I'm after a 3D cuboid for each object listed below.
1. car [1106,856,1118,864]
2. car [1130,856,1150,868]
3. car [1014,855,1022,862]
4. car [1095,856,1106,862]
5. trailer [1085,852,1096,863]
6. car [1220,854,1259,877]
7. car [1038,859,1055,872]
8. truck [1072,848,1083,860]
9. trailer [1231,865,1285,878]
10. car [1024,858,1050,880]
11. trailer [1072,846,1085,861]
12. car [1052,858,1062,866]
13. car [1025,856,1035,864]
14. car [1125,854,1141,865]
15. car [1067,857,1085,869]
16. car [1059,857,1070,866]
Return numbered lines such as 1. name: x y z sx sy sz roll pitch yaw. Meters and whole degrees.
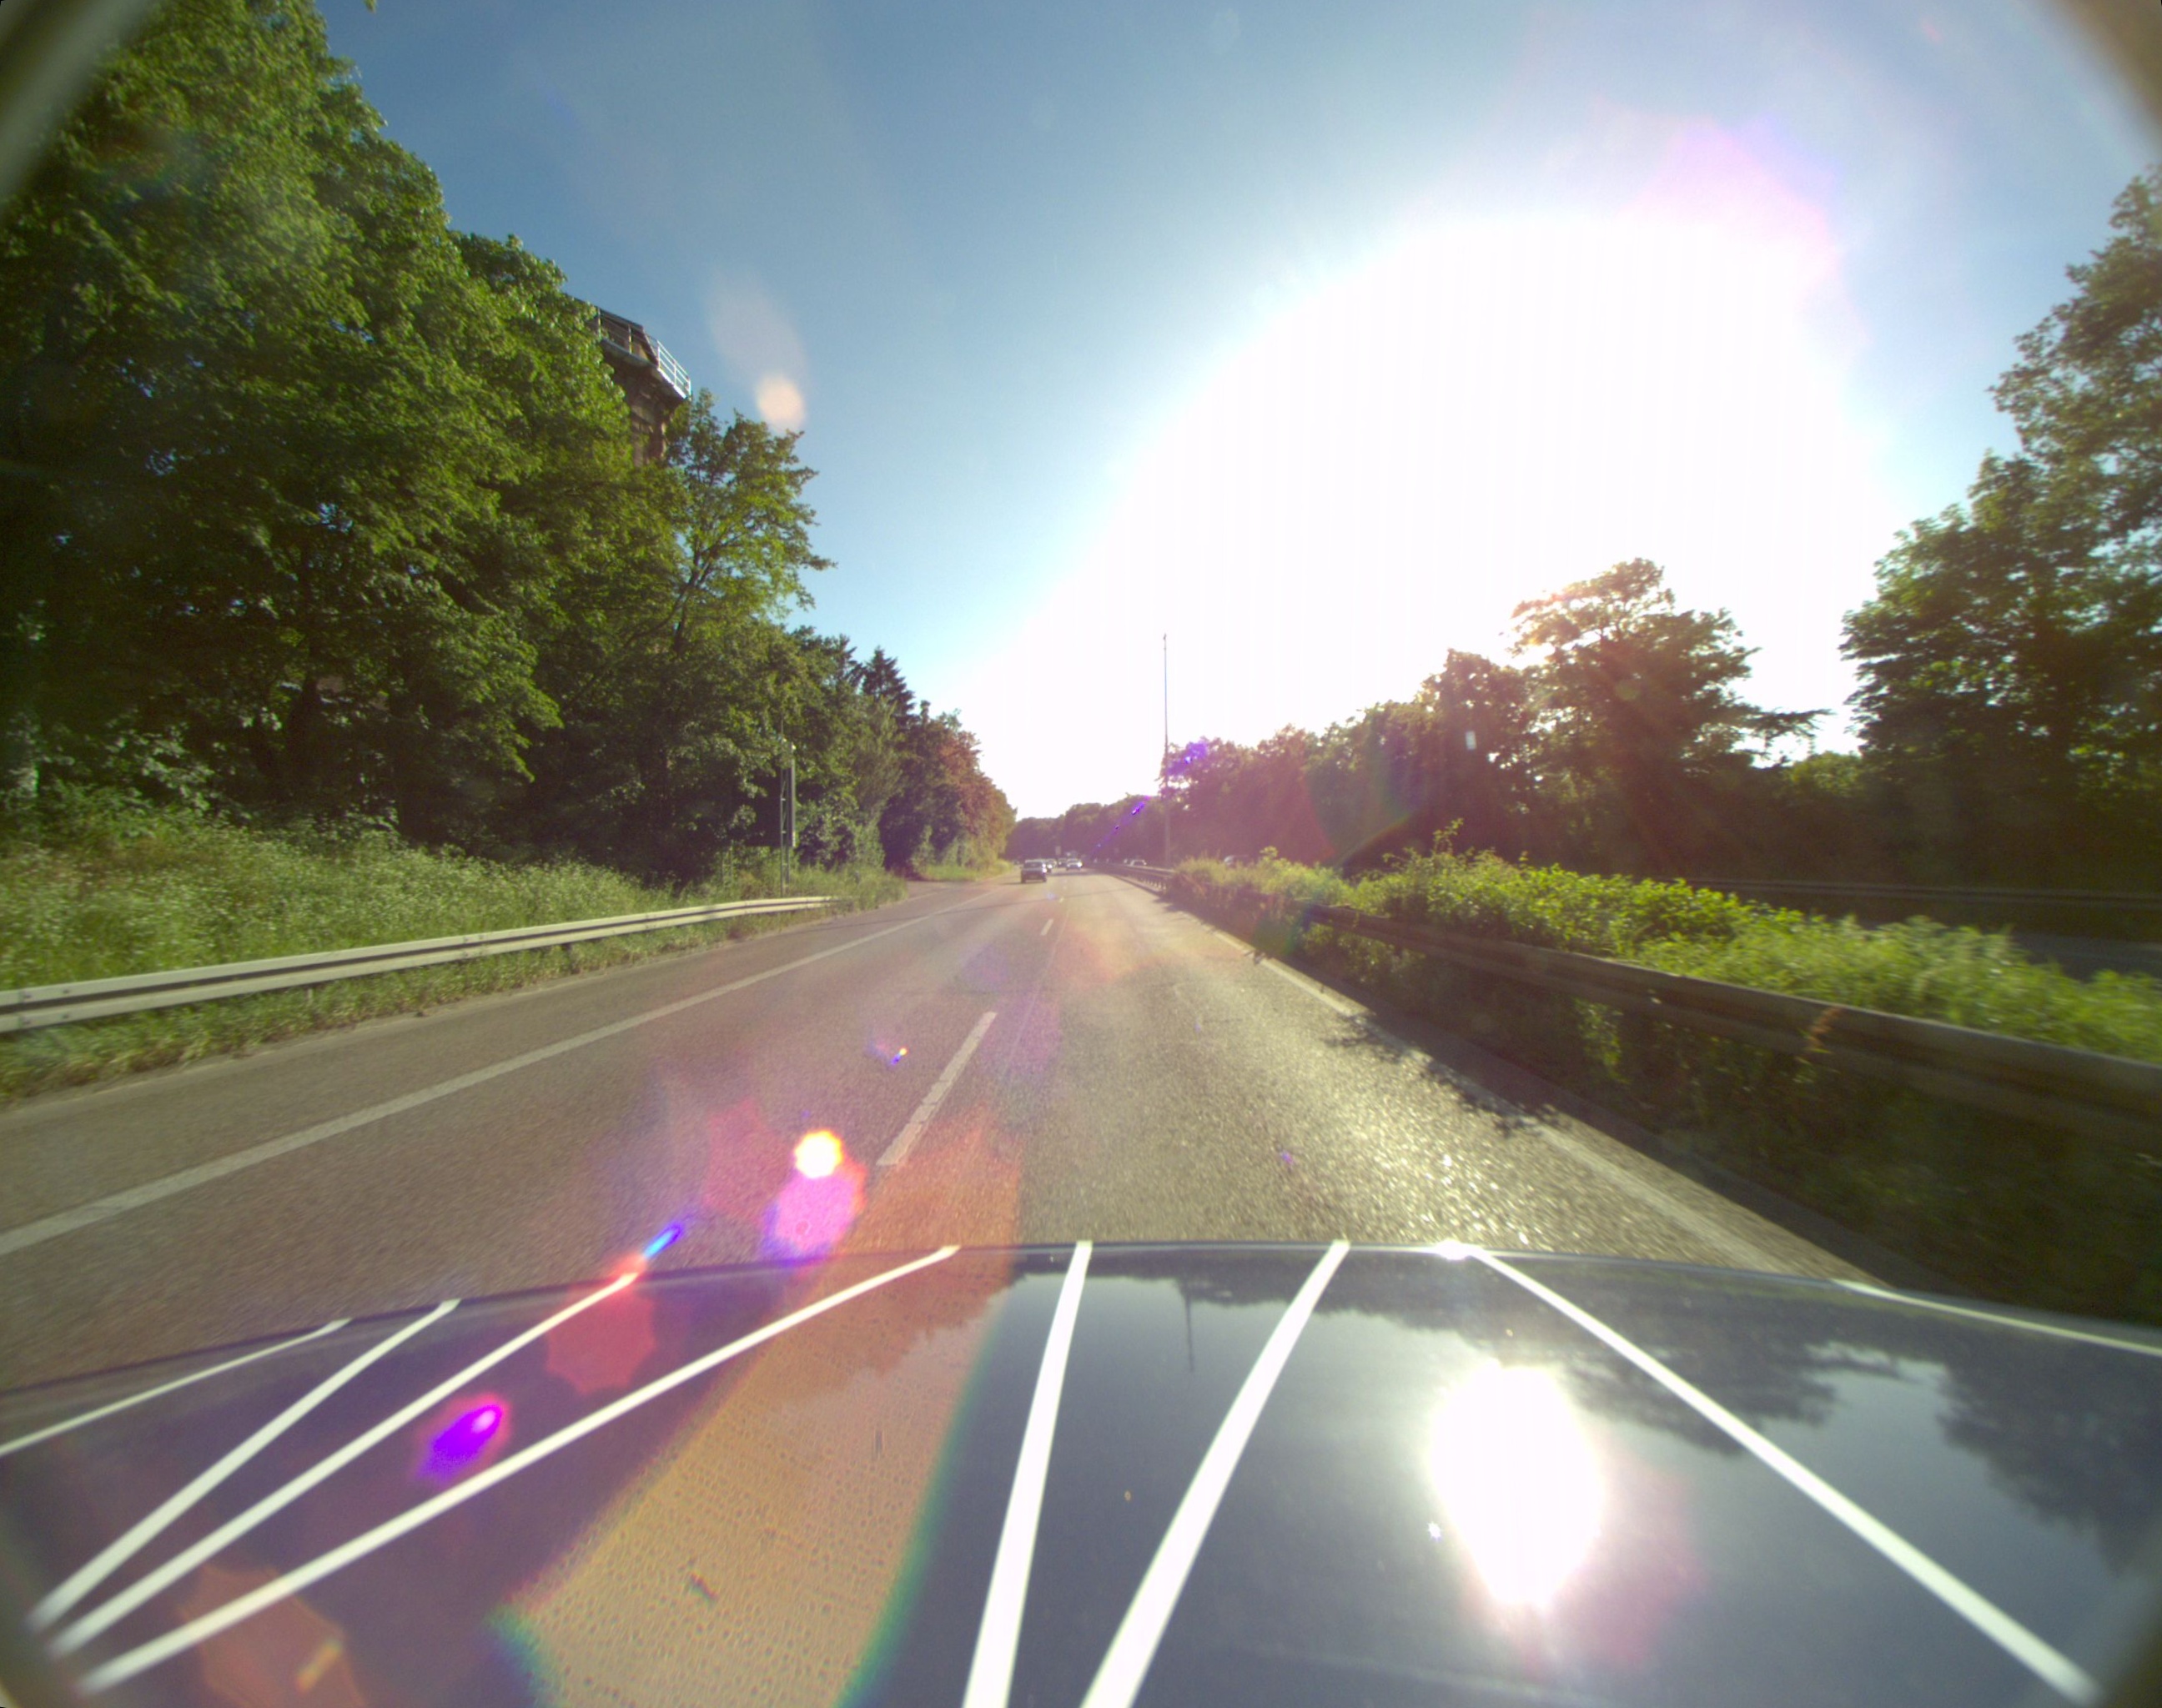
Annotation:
1. car: 6.452 1.154 159.502 2.077 1.604 5.057 -2 0 -4
2. car: 7.502 1.009 96.485 1.966 1.458 4.875 -2 0 -2
3. car: -19.109 1.285 229.473 2.000 2.002 3.997 -1 0 -9
4. car: 4.626 1.159 177.596 2.077 1.458 4.984 -2 0 -4
5. trailer: 2.084 0.720 164.861 1.999 2.423 4.604 -1 0 -5
6. car: 12.648 0.865 60.890 1.966 1.714 4.743 -2 0 -2
7. car: -3.956 1.312 87.004 1.801 1.453 4.354 -1 0 -3
8. truck: -1.051 0.030 221.913 2.989 3.609 6.153 -1 0 -3
9. trailer: 12.755 1.247 55.157 2.264 0.736 6.330 -1 0 -2
10. car: -3.134 1.040 54.057 1.801 1.453 4.354 -1 0 -3
11. trailer: -0.682 -0.161 215.482 3.061 3.974 10.968 -1 0 -4
12. car: -4.471 1.466 143.423 1.801 1.453 4.401 -1 0 -2
13. car: -12.383 1.461 183.380 2.000 1.761 3.996 -1 0 -10
14. car: 9.023 0.913 131.782 2.125 1.715 5.875 -2 0 -2
15. car: -0.701 1.169 99.645 1.905 1.453 4.353 -1 0 -6
16. car: -2.913 1.244 131.339 1.801 1.453 4.355 -1 0 -2
